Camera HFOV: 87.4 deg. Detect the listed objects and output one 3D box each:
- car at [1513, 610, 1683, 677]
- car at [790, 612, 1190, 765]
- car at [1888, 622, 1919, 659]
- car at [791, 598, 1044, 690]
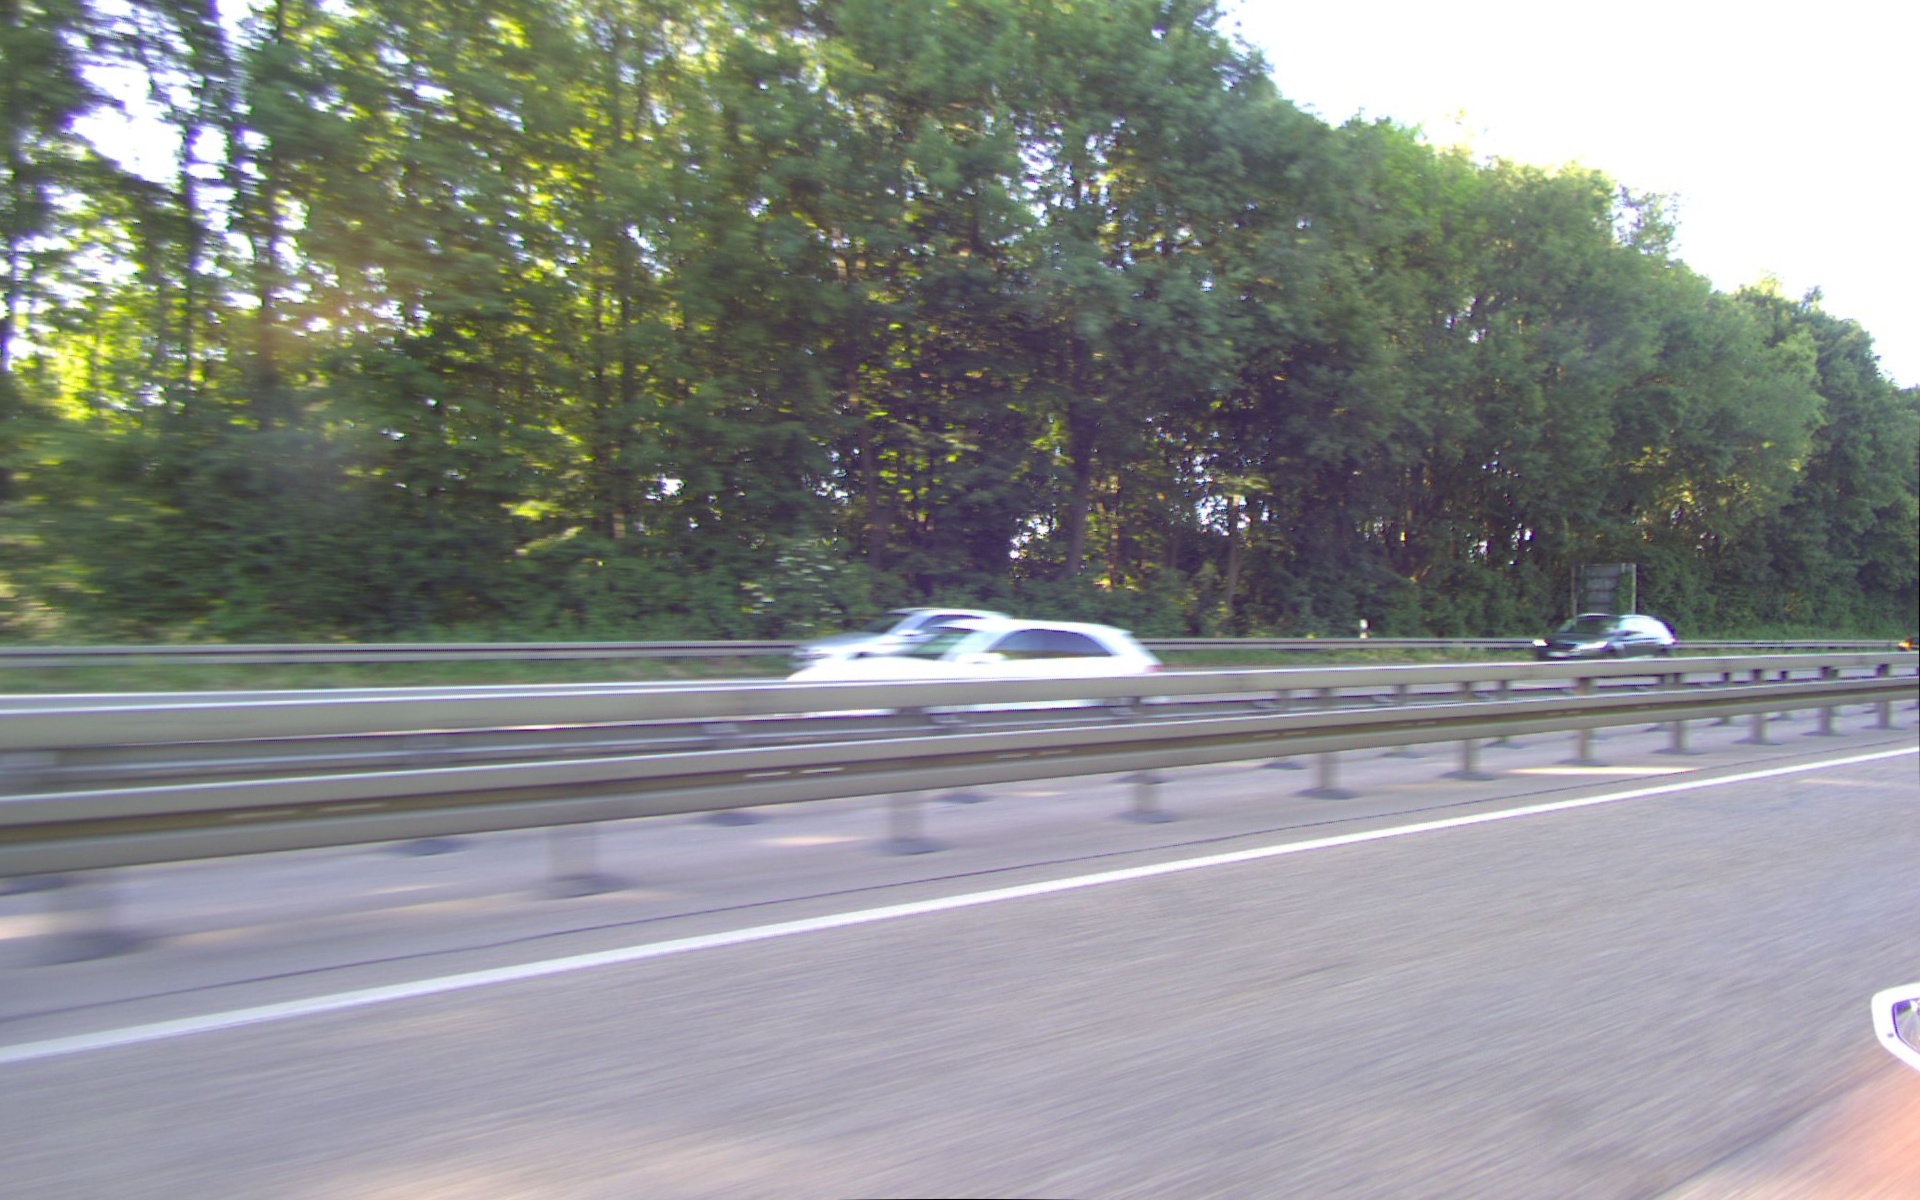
[{"bbox_3d":[17.636,1.189,27.704,4.851,1.721,1.984,2,-2,-31],"label":"car"},{"bbox_3d":[0.438,0.999,12.472,4.652,1.580,1.984,2,-2,-31],"label":"car"},{"bbox_3d":[40.718,1.695,41.849,3.953,1.505,1.984,2,-2,-30],"label":"car"},{"bbox_3d":[-0.796,0.860,19.844,4.652,1.621,1.984,2,-2,-31],"label":"car"}]
